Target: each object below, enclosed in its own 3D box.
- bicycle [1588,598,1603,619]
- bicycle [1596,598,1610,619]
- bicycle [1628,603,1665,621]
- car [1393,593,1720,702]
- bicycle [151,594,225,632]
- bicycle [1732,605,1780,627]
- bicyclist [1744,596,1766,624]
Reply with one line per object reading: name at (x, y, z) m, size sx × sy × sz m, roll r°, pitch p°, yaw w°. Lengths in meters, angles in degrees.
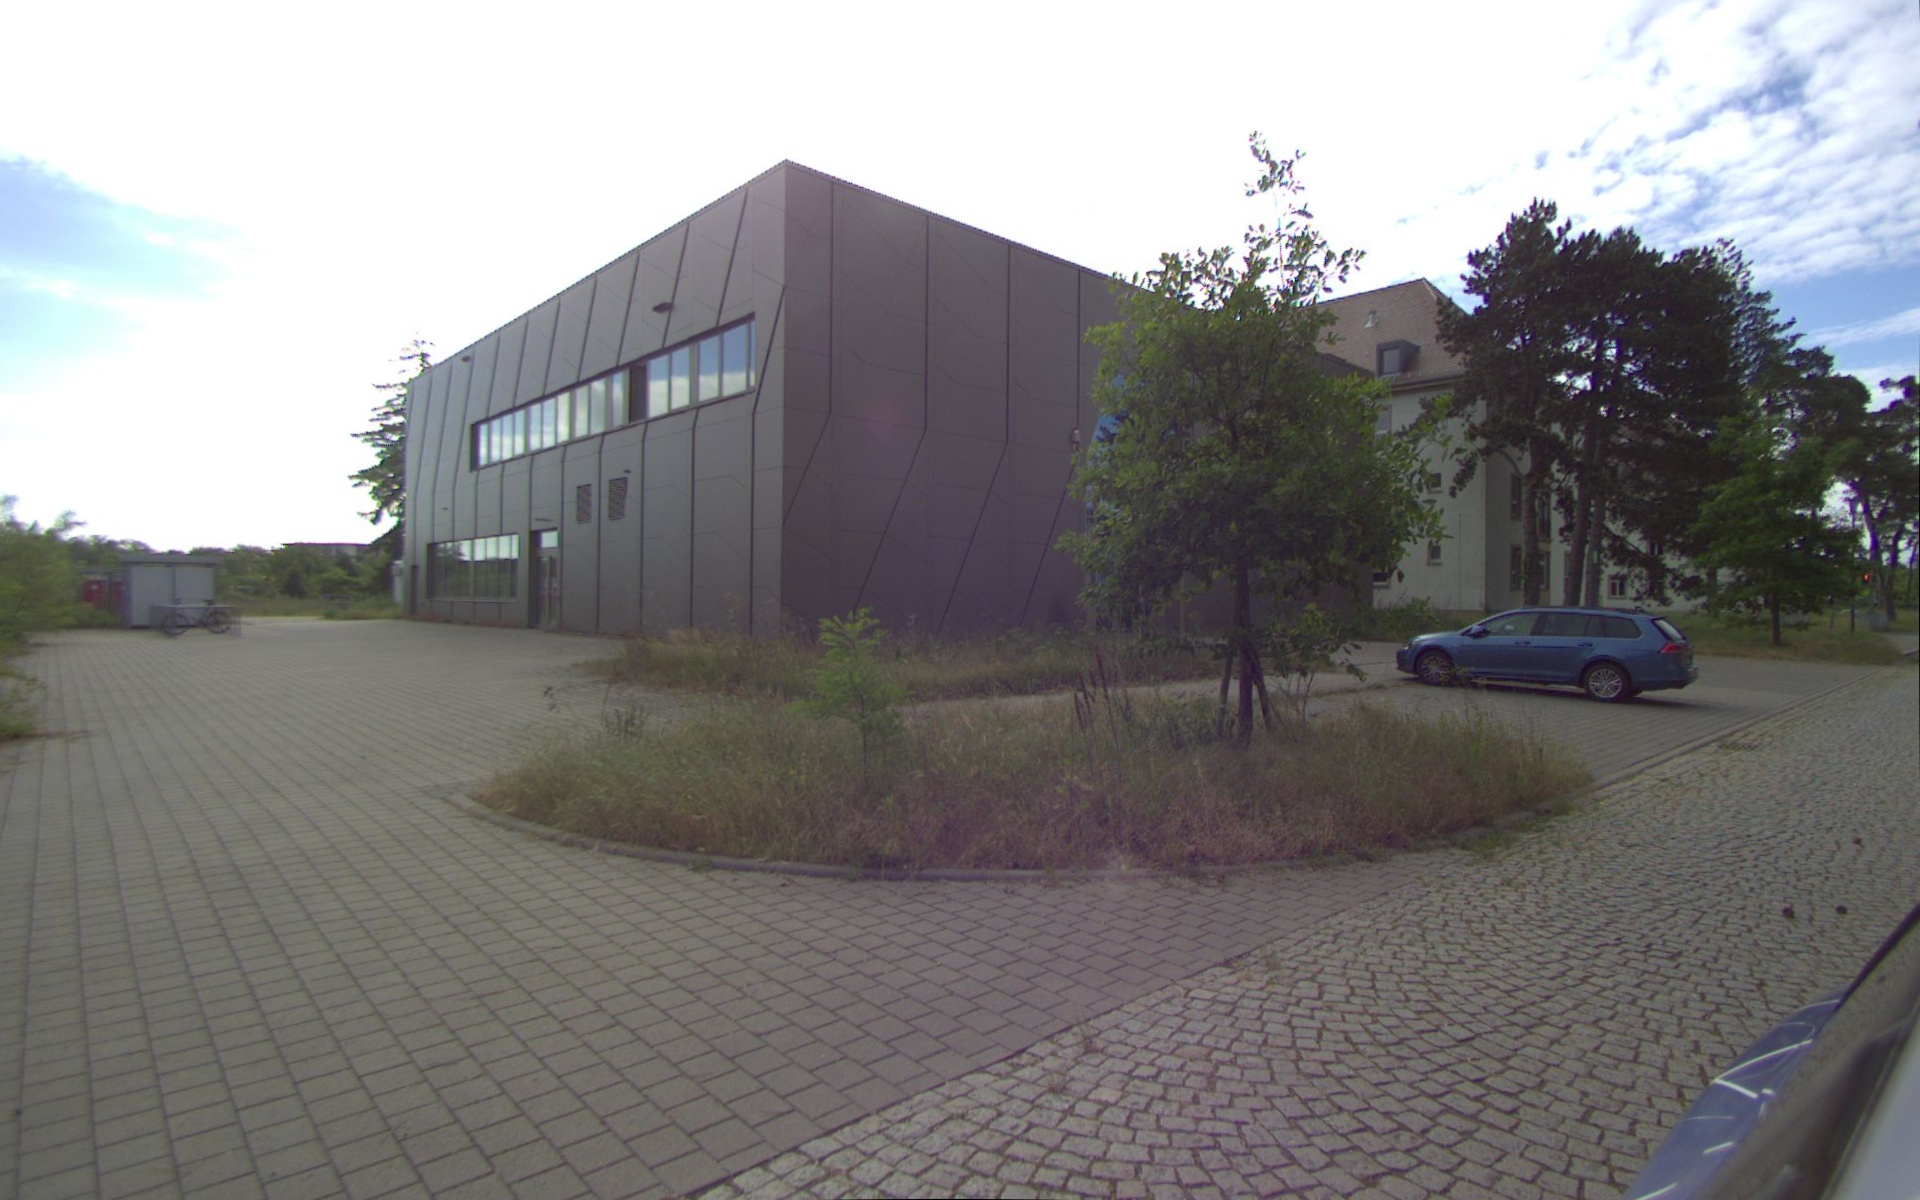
bicycle at (43.007, 0.566, 68.463) m, size 0.570 × 1.349 × 1.810 m, roll 0°, pitch 0°, yaw 42°
bicycle at (43.290, 0.558, 68.136) m, size 0.480 × 1.349 × 1.810 m, roll 0°, pitch 0°, yaw 42°
bicycle at (44.075, 0.768, 64.991) m, size 0.562 × 1.098 × 1.836 m, roll -2°, pitch 1°, yaw -39°
car at (10.079, 0.704, 17.372) m, size 4.524 × 1.461 × 1.794 m, roll 3°, pitch 2°, yaw 44°
bicycle at (-23.085, 0.389, 30.287) m, size 1.733 × 1.113 × 0.521 m, roll 0°, pitch -1°, yaw -42°
bicycle at (47.792, 0.966, 60.780) m, size 2.145 × 1.292 × 0.954 m, roll 0°, pitch 0°, yaw 30°
bicyclist at (47.752, 0.572, 60.796) m, size 0.909 × 1.656 × 0.954 m, roll 0°, pitch 0°, yaw 29°
